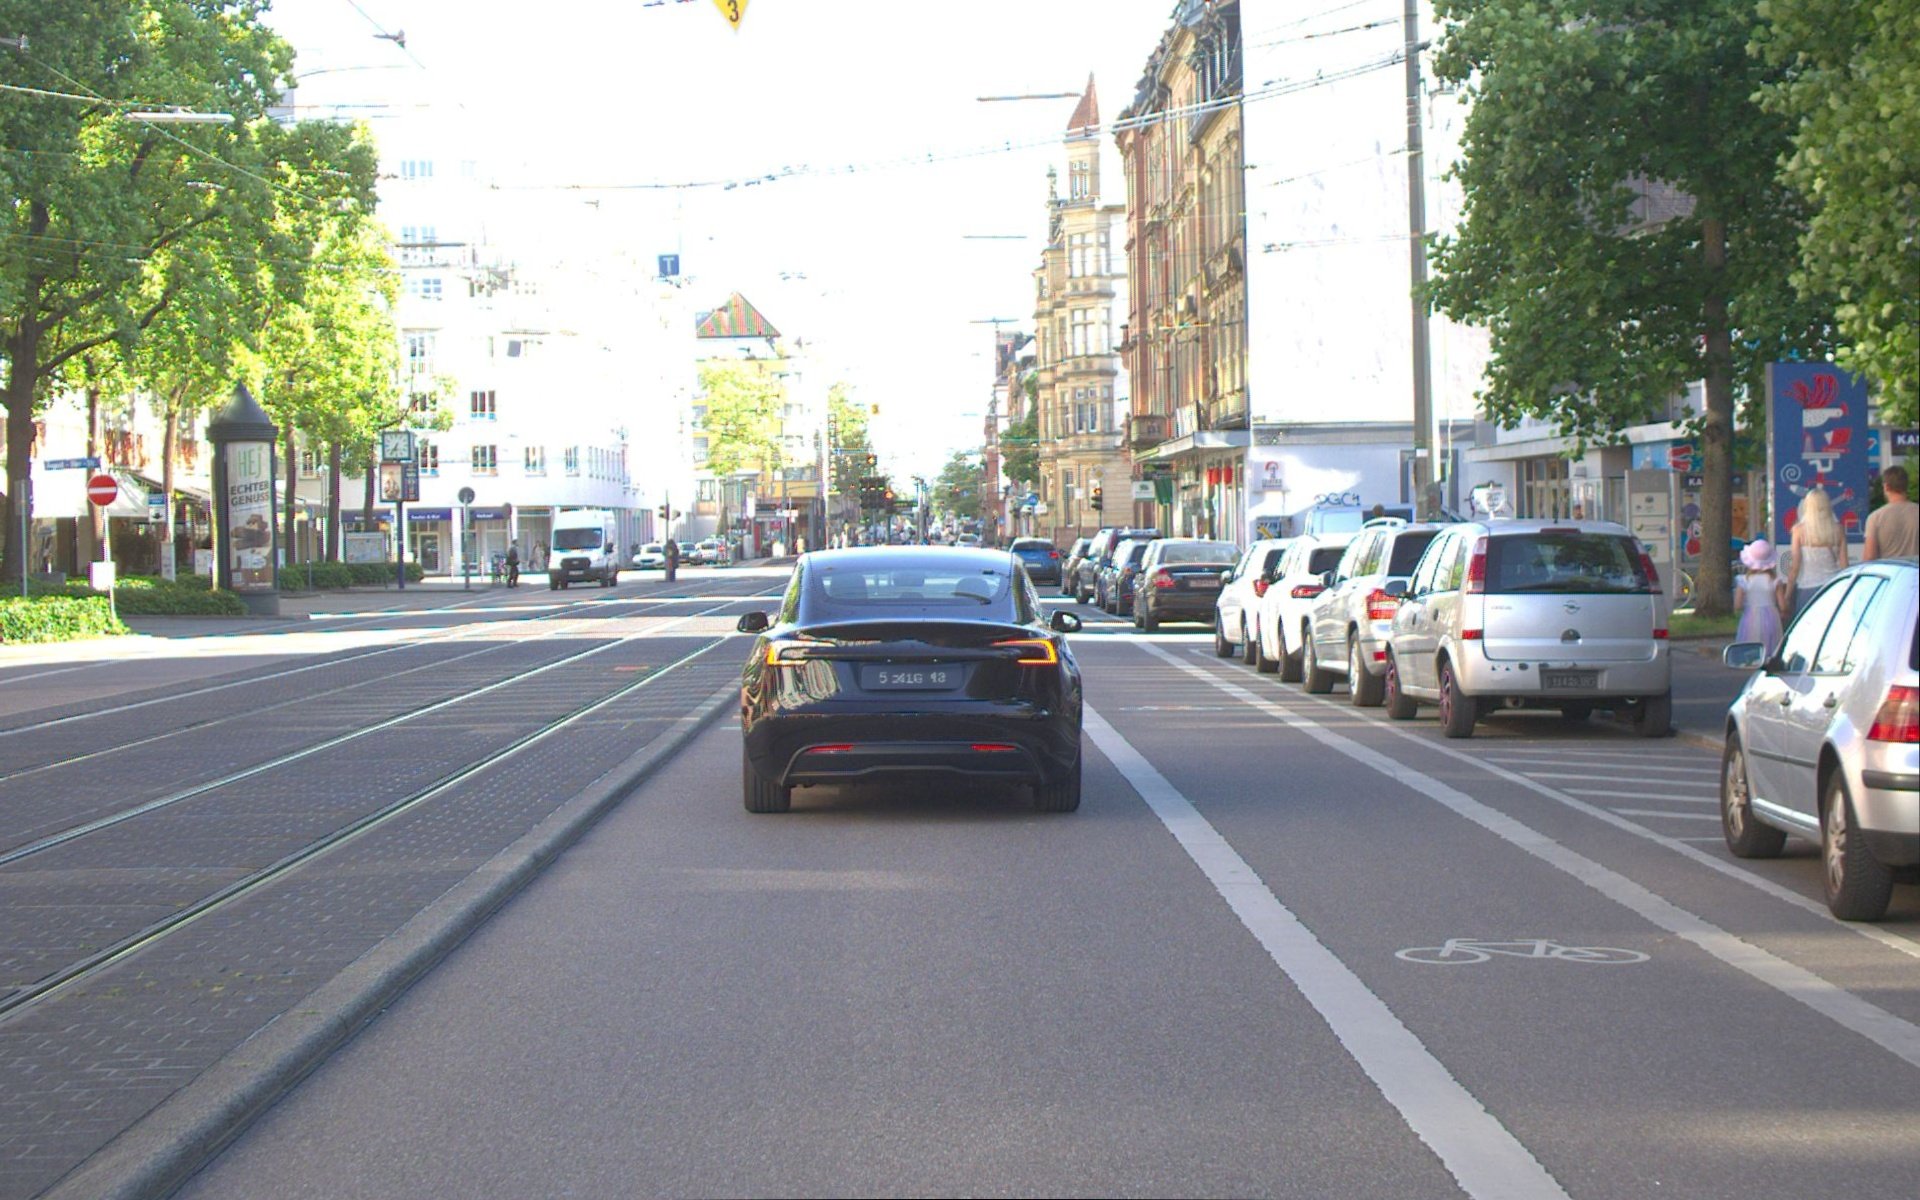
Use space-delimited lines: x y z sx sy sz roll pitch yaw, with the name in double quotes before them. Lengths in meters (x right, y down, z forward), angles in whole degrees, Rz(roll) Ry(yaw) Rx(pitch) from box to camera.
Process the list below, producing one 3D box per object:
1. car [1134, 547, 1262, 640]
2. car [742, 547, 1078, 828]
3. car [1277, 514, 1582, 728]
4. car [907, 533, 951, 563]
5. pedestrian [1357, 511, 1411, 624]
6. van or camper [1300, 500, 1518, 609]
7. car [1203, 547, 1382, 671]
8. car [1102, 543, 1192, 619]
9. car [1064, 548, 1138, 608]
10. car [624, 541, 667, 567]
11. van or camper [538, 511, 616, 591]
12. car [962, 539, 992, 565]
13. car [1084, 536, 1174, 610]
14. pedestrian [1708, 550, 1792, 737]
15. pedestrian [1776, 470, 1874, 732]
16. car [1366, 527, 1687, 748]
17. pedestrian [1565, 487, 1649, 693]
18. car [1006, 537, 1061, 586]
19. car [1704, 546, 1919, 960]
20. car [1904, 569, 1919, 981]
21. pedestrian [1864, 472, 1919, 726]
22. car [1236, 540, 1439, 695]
"car" 3.831 -0.132 55.940 1.710 1.452 4.551 0 1 -1
"car" -0.308 0.419 19.463 1.719 1.400 3.710 0 1 -2
"car" 4.233 0.120 31.752 1.925 1.828 4.713 0 1 -3
"car" -1.638 -2.742 180.655 1.993 1.520 4.001 -1 1 -5
"pedestrian" 6.892 -0.528 55.915 0.721 1.806 0.889 -2 1 0
"van or camper" 10.144 -1.032 77.992 4.644 2.129 1.987 -4 1 4
"car" 4.060 0.082 42.488 1.601 1.438 3.885 1 1 -3
"car" 3.643 -0.372 67.366 1.461 1.427 3.814 0 0 -1
"car" 3.613 -0.573 88.532 1.715 1.467 3.719 -2 1 0
"car" -17.244 -2.536 188.828 1.993 1.363 4.000 -2 1 0
"van or camper" -13.420 -1.717 120.749 2.139 2.645 6.881 -2 1 -2
"car" 1.082 -3.084 222.004 1.846 1.587 4.000 -2 1 0
"car" 3.795 -0.601 77.758 1.829 1.622 4.095 0 0 0
"pedestrian" 6.063 0.328 26.384 0.456 1.393 0.422 -5 0 4
"pedestrian" 6.625 0.002 26.341 0.465 1.947 0.747 -5 1 5
"car" 4.346 0.230 26.952 1.713 1.585 4.066 0 1 -2
"pedestrian" 5.793 -0.091 30.790 0.611 1.802 0.602 -2 1 4
"car" 2.255 -1.203 106.256 1.593 1.428 3.686 -2 1 0
"car" 4.301 0.514 14.371 1.750 1.438 4.314 0 1 4
"car" 4.318 0.657 9.981 1.802 1.430 4.324 1 1 -2
"pedestrian" 7.356 -0.032 26.160 0.669 1.891 0.747 -5 1 5
"car" 4.018 0.143 37.171 1.541 1.564 4.444 0 1 -2
